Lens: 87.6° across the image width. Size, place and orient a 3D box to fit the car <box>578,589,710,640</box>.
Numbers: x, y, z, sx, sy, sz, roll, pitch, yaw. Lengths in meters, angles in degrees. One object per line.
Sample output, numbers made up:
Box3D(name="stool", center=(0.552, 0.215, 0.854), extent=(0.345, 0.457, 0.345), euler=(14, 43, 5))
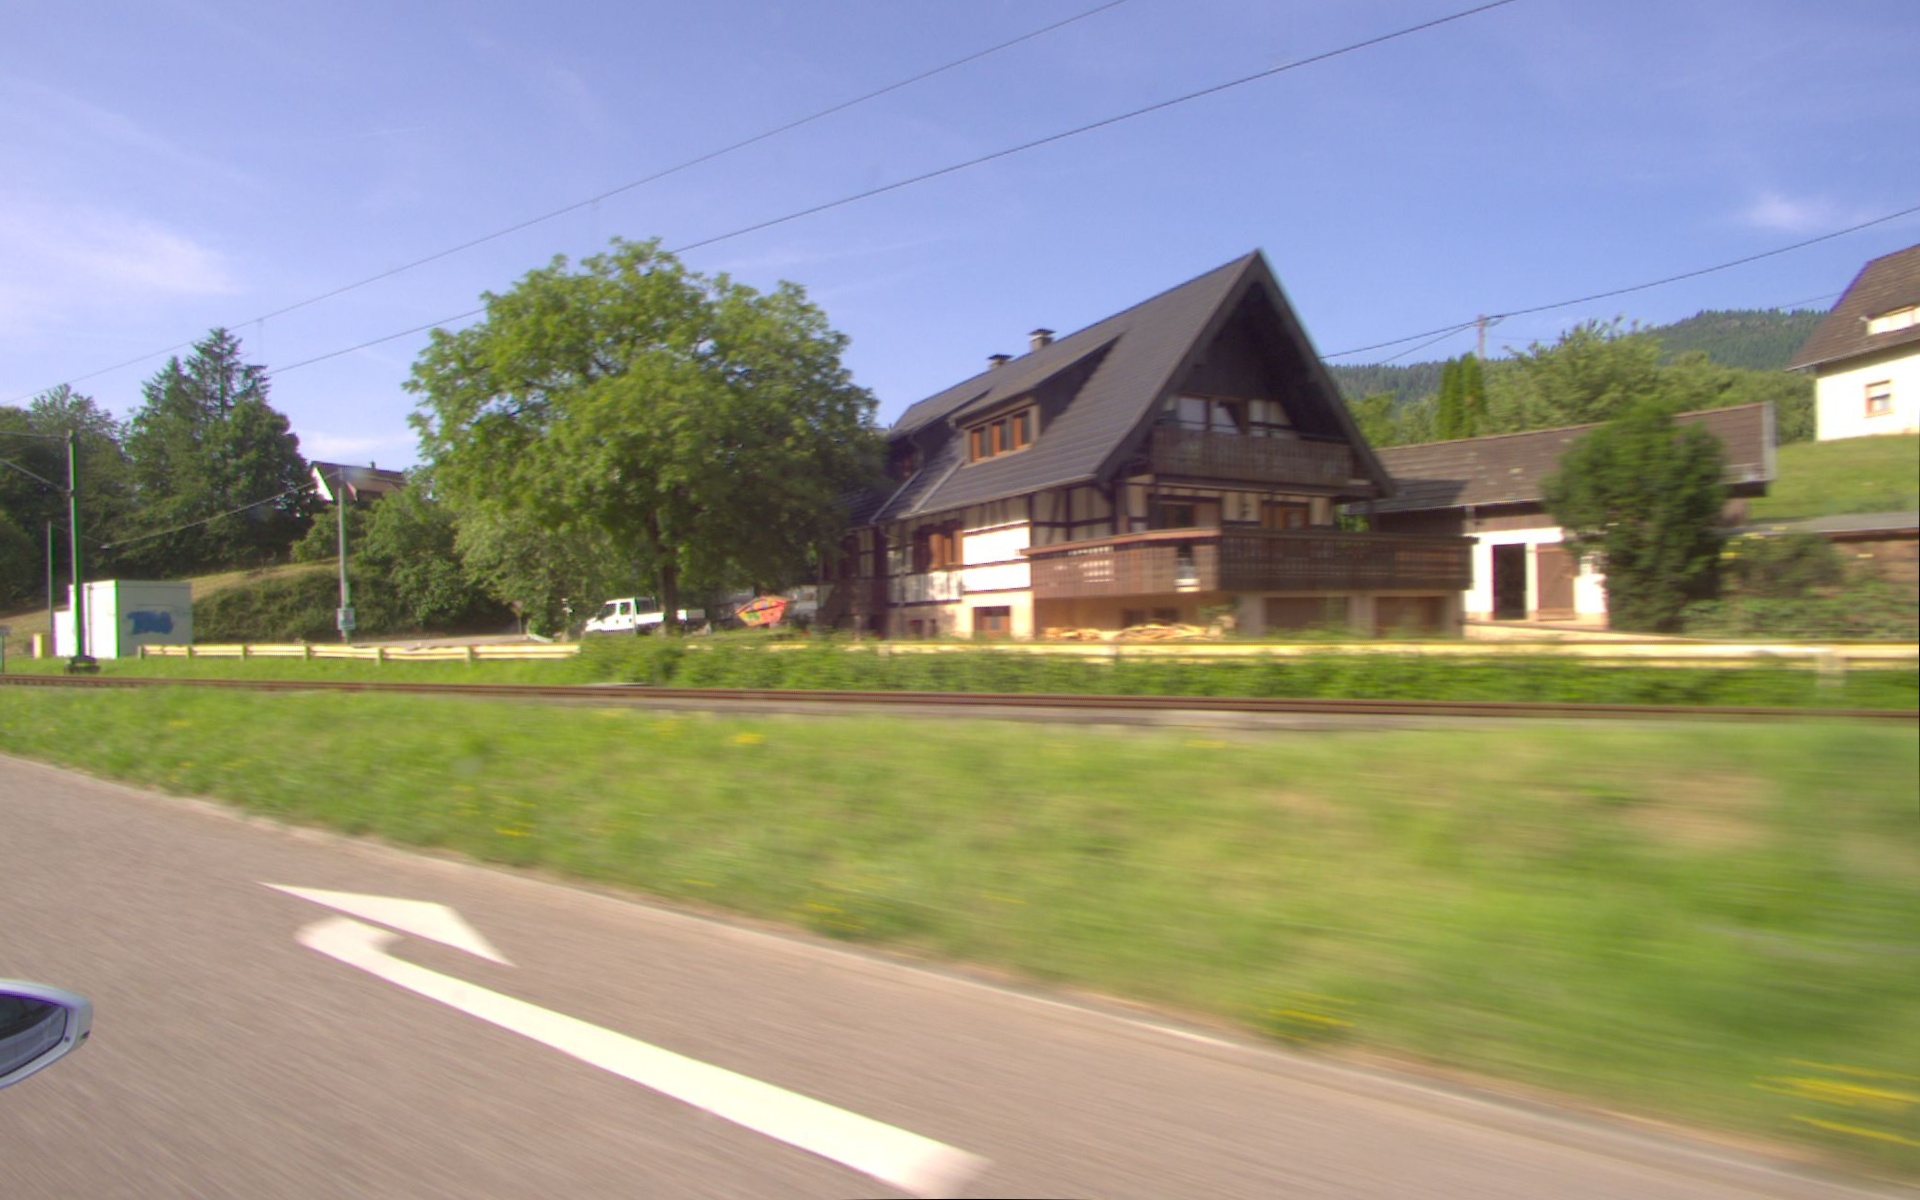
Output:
Box3D(name="car", center=(-16.002, 0.741, 50.815), extent=(5.922, 2.362, 2.381), euler=(-2, 1, 11))

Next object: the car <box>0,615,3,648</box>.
Box3D(name="car", center=(-57.812, 1.840, 57.603), extent=(3.959, 1.906, 1.860), euler=(0, 0, -43))
